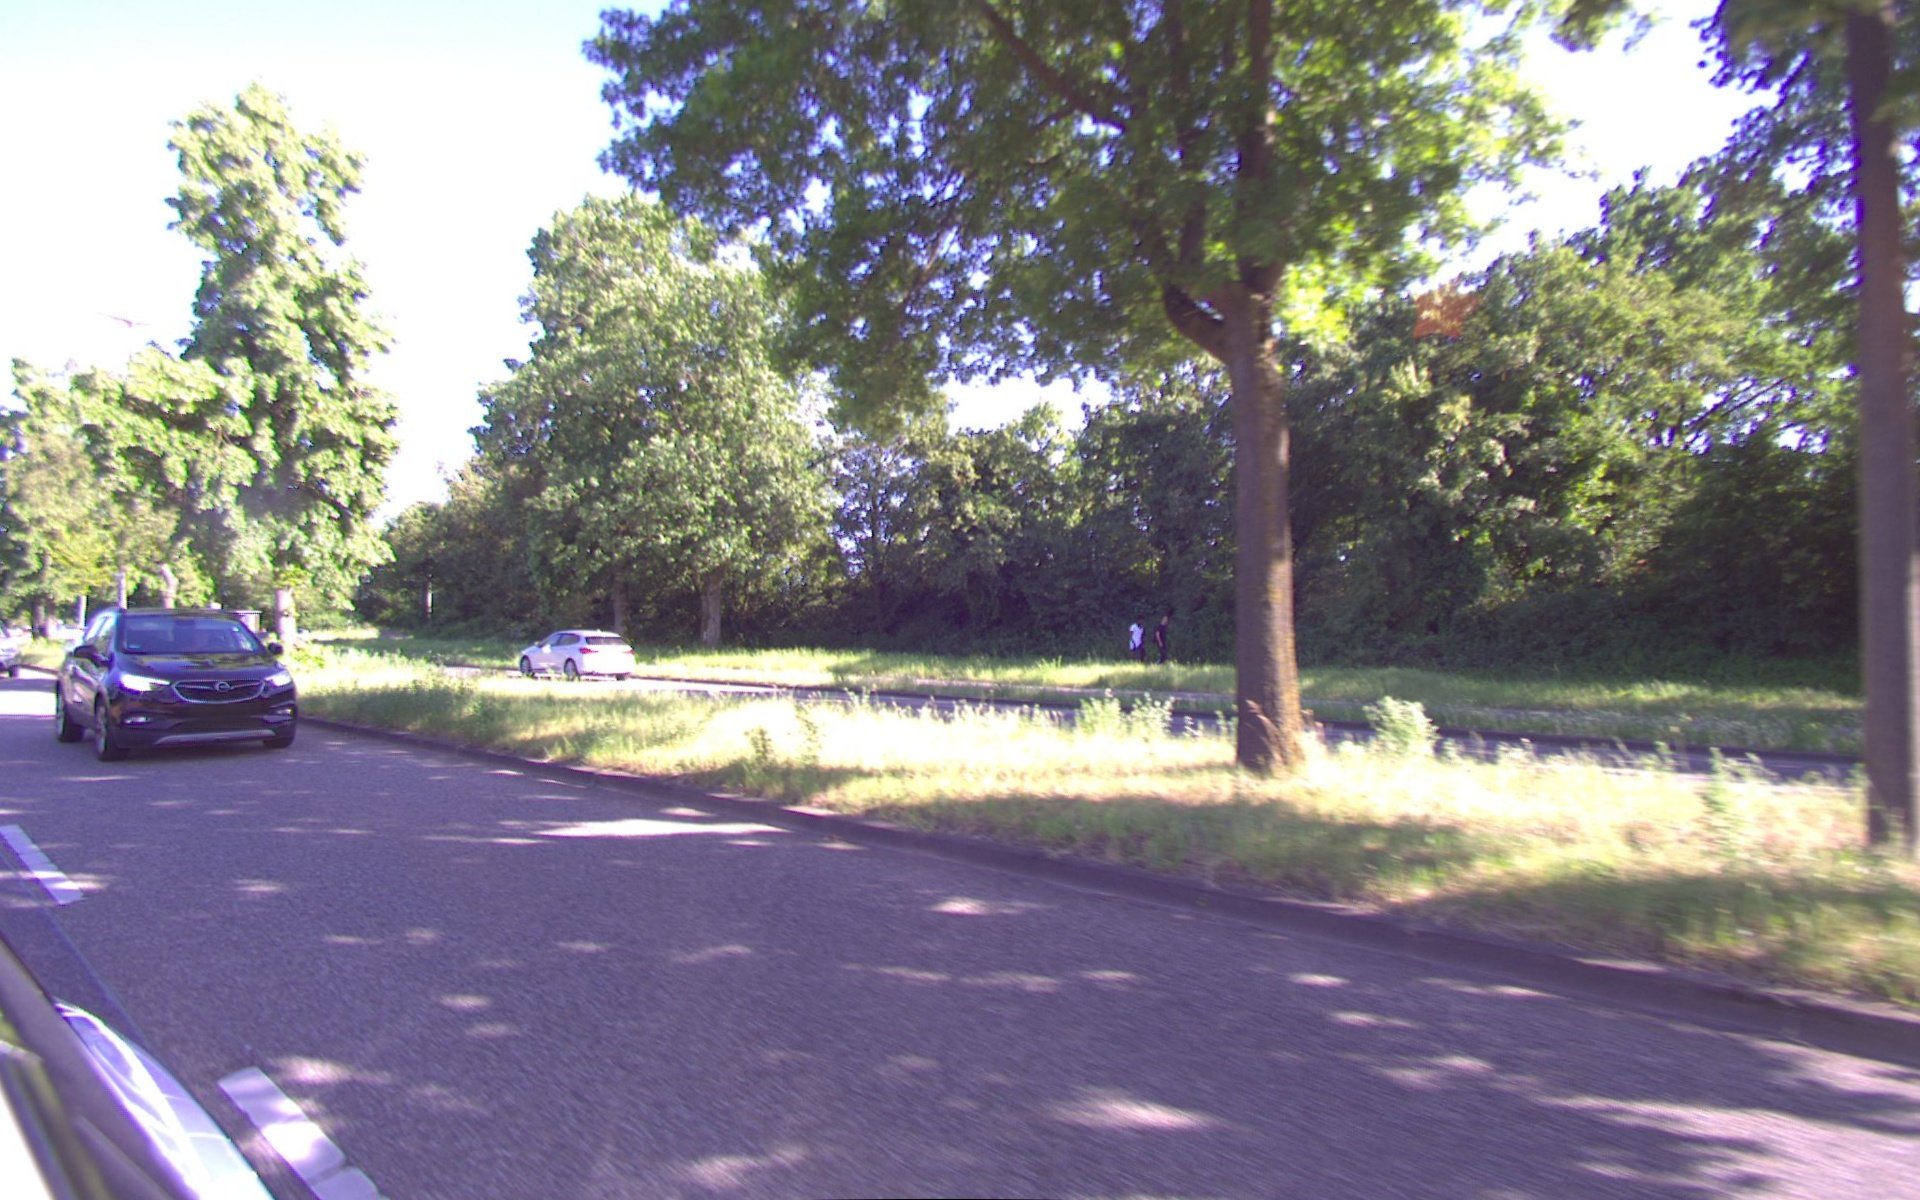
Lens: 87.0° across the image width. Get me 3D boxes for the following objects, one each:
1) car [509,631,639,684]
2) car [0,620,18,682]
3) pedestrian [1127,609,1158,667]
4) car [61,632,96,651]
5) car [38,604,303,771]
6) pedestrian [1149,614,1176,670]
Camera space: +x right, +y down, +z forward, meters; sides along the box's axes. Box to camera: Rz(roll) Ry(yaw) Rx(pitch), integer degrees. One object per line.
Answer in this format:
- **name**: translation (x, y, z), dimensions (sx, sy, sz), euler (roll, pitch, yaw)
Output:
- **car**: translation (-11.406, 1.675, 29.786), dimensions (4.343, 1.468, 1.708), euler (-2, -5, 41)
- **car**: translation (-27.040, 1.361, 27.426), dimensions (4.104, 1.622, 1.766), euler (-1, -2, 41)
- **pedestrian**: translation (5.384, 1.107, 29.830), dimensions (0.678, 1.672, 0.675), euler (-1, 0, 36)
- **car**: translation (-75.916, 3.600, 87.179), dimensions (3.745, 1.590, 1.710), euler (-2, -5, 41)
- **car**: translation (-9.530, 0.921, 12.084), dimensions (4.415, 1.644, 1.678), euler (-1, -2, 41)
- **pedestrian**: translation (6.154, 1.277, 30.752), dimensions (0.553, 1.672, 0.541), euler (-1, 0, -42)
